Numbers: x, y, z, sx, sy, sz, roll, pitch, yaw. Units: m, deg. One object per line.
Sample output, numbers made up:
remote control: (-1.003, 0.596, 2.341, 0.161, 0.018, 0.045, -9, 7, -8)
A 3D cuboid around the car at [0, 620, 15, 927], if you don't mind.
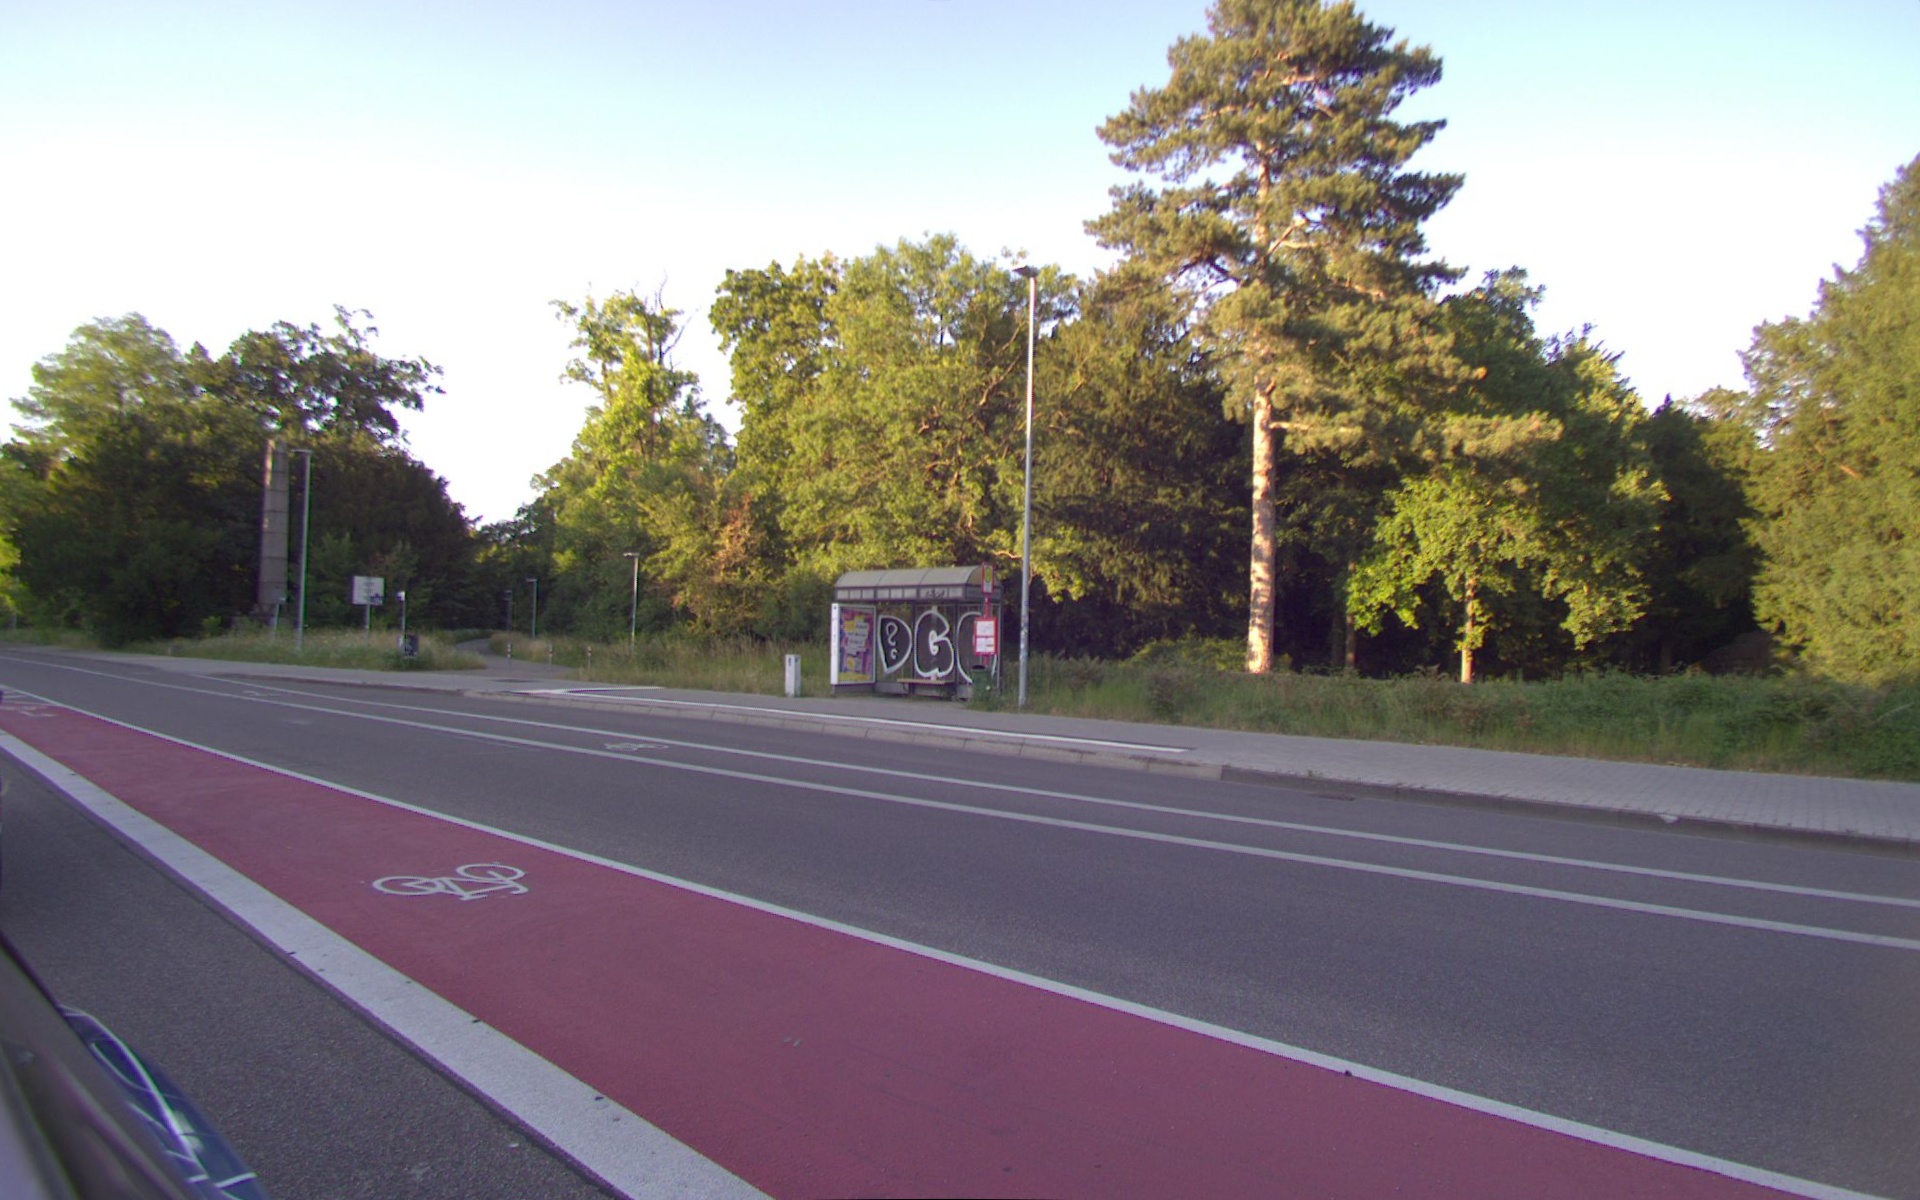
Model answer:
car: (-6.977, 0.848, 5.611, 5.206, 1.410, 1.796, -1, 0, 39)
